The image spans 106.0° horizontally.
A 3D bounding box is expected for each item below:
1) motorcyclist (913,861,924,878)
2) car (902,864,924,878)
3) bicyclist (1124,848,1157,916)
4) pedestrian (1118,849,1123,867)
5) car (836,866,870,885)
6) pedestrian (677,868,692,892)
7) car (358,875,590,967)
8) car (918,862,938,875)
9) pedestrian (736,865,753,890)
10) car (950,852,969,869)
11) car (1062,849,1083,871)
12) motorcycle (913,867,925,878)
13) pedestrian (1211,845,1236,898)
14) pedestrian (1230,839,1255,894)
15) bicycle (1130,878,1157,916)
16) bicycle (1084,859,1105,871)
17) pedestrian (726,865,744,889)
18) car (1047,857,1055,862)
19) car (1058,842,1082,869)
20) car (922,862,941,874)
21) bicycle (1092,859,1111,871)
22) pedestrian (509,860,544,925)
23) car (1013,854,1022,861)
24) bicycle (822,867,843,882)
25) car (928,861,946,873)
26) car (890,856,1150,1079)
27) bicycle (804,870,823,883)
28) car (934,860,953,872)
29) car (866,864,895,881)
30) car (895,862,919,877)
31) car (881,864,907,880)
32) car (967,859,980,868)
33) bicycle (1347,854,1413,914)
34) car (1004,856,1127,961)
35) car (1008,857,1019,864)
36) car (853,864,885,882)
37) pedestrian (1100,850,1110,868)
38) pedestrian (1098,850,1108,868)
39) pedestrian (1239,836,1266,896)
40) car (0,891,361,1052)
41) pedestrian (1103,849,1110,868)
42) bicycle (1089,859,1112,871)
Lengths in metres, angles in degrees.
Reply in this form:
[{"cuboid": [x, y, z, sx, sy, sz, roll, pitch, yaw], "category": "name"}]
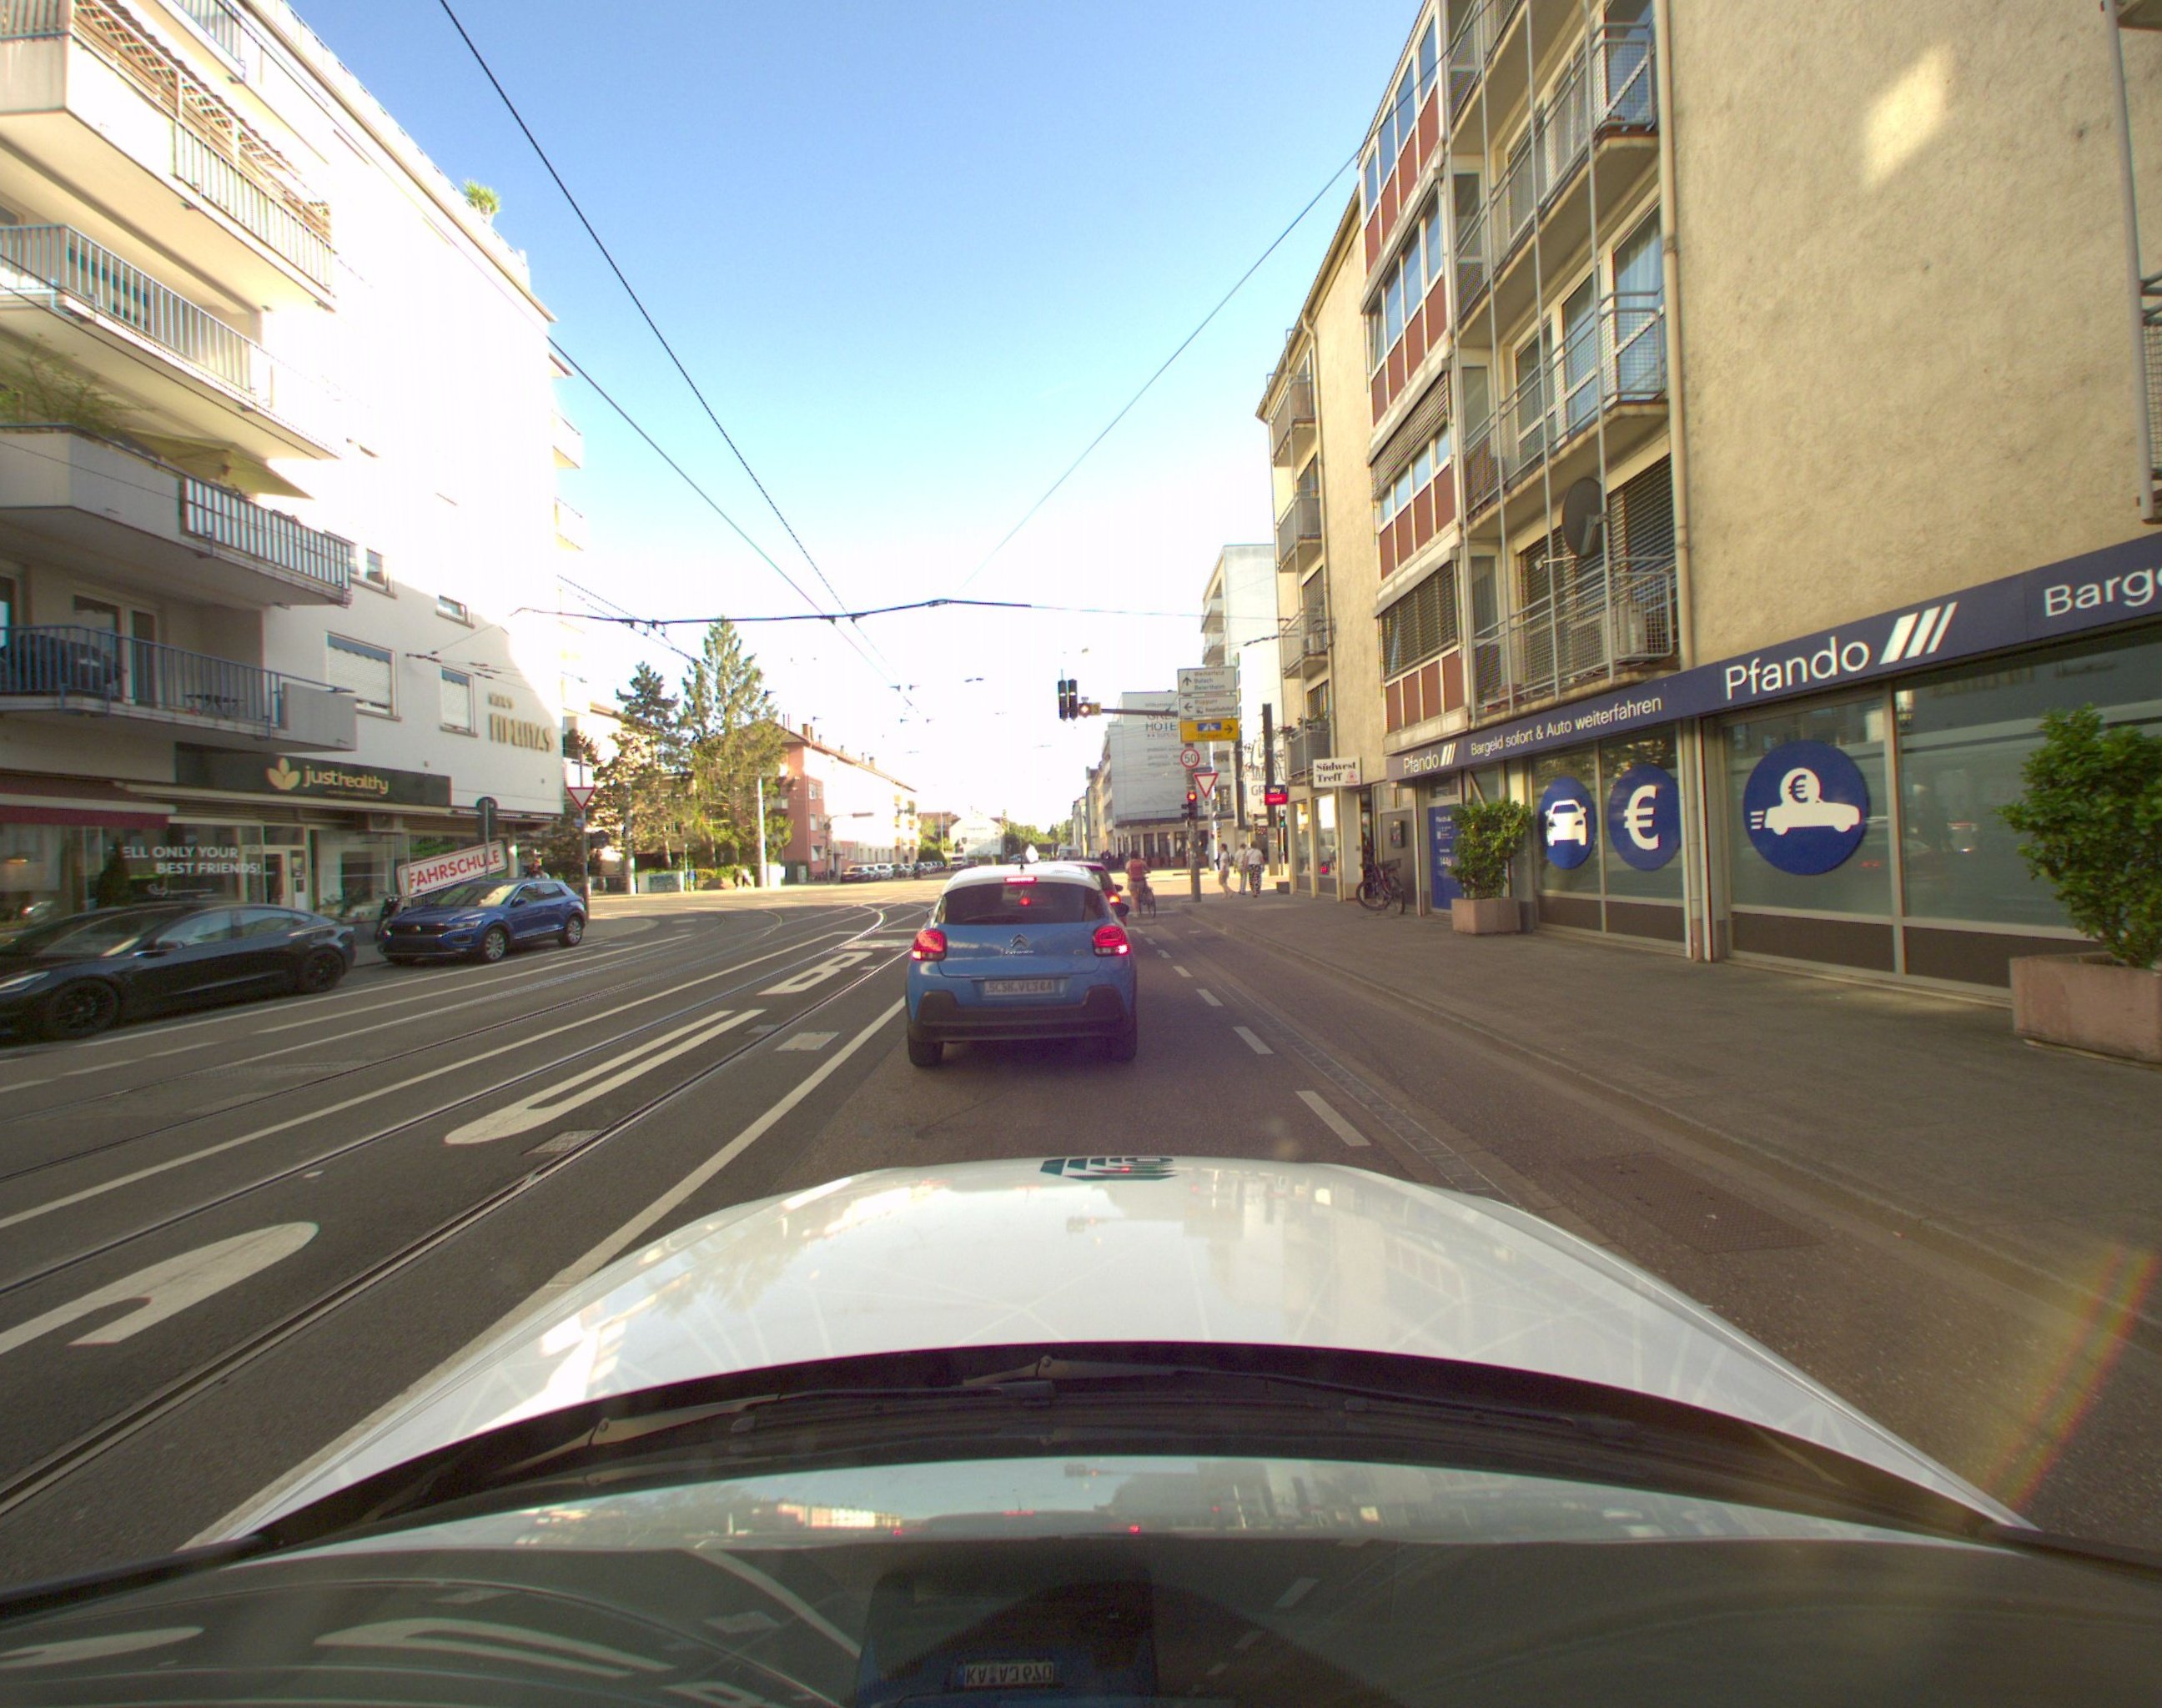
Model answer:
[{"cuboid": [-13.491, 1.268, 67.608, 0.716, 1.378, 0.912, -2, 0, 2], "category": "motorcyclist"}, {"cuboid": [-20.215, 2.063, 98.332, 1.906, 1.497, 3.997, -3, 0, -2], "category": "car"}, {"cuboid": [1.481, 0.684, 20.382, 0.723, 1.646, 0.790, -2, 0, 1], "category": "bicyclist"}, {"cuboid": [3.411, 0.355, 70.236, 0.284, 1.556, 0.304, -2, 0, -7], "category": "pedestrian"}, {"cuboid": [-19.427, 1.770, 69.451, 1.907, 1.433, 3.995, -3, 0, -4], "category": "car"}, {"cuboid": [-27.606, 1.809, 56.720, 0.854, 1.625, 0.510, -2, 0, -32], "category": "pedestrian"}, {"cuboid": [-11.870, 1.222, 16.316, 1.740, 1.509, 3.996, -1, -1, -2], "category": "car"}, {"cuboid": [-20.028, 1.855, 106.739, 1.906, 1.497, 3.997, -3, 0, -2], "category": "car"}, {"cuboid": [-23.775, 1.649, 57.490, 0.835, 1.690, 0.742, -2, 0, 35], "category": "pedestrian"}, {"cuboid": [-17.876, 0.947, 119.943, 2.201, 2.251, 4.673, -3, 0, -2], "category": "car"}, {"cuboid": [-0.722, 0.466, 67.711, 1.727, 1.750, 3.212, -1, 0, -1], "category": "car"}, {"cuboid": [-13.484, 1.556, 67.761, 0.613, 0.864, 1.671, -2, 0, 2], "category": "motorcycle"}, {"cuboid": [4.229, 0.497, 24.158, 0.539, 1.507, 0.611, -4, 1, 0], "category": "pedestrian"}, {"cuboid": [5.074, 0.377, 25.620, 0.539, 1.672, 0.624, -4, 1, 0], "category": "pedestrian"}, {"cuboid": [1.569, 1.075, 20.688, 0.497, 0.864, 1.748, -2, 0, 0], "category": "bicycle"}, {"cuboid": [1.128, 0.919, 68.548, 1.713, 0.957, 0.702, -3, 0, 3], "category": "bicycle"}, {"cuboid": [-24.700, 1.630, 58.119, 0.835, 1.690, 0.742, -2, 0, 34], "category": "pedestrian"}, {"cuboid": [-7.855, 1.342, 213.946, 1.752, 1.259, 3.825, -2, 0, -5], "category": "car"}, {"cuboid": [-1.003, 0.157, 72.638, 1.988, 2.325, 3.998, -1, 0, -1], "category": "car"}, {"cuboid": [-20.530, 1.901, 111.753, 1.906, 1.497, 3.997, -3, 0, -2], "category": "car"}, {"cuboid": [1.663, 0.888, 66.115, 1.497, 0.957, 0.702, -3, 0, 3], "category": "bicycle"}, {"cuboid": [-17.362, 1.197, 25.507, 0.684, 2.013, 0.486, -2, 0, 1], "category": "pedestrian"}, {"cuboid": [-14.671, 0.853, 188.051, 2.016, 1.525, 3.997, -3, 0, -2], "category": "car"}, {"cuboid": [-22.811, 1.878, 74.705, 0.845, 1.225, 3.304, -2, 0, 0], "category": "bicycle"}, {"cuboid": [-20.614, 1.881, 116.851, 1.865, 1.574, 3.997, -2, 0, -2], "category": "car"}, {"cuboid": [-0.545, 0.771, 7.552, 1.740, 1.462, 3.994, -1, 0, -4], "category": "car"}, {"cuboid": [-22.466, 1.865, 68.444, 0.730, 0.952, 2.597, -2, 0, 0], "category": "bicycle"}, {"cuboid": [-20.570, 1.819, 122.280, 2.024, 1.619, 4.509, -3, 0, -1], "category": "car"}, {"cuboid": [-19.585, 1.781, 79.813, 1.906, 1.497, 3.997, -3, 0, -2], "category": "car"}, {"cuboid": [-19.810, 1.754, 92.748, 1.906, 1.497, 3.997, -3, 0, -2], "category": "car"}, {"cuboid": [-19.810, 1.888, 86.604, 1.906, 1.497, 3.997, -3, 0, -2], "category": "car"}, {"cuboid": [-19.138, 1.740, 145.165, 2.016, 1.525, 3.997, -2, 0, -2], "category": "car"}, {"cuboid": [5.758, 0.551, 15.778, 0.528, 1.072, 1.810, -2, 0, -1], "category": "bicycle"}, {"cuboid": [-0.159, 0.795, 13.770, 1.732, 1.420, 4.002, -2, 0, 2], "category": "car"}, {"cuboid": [-14.063, 1.330, 169.980, 2.016, 1.525, 3.997, -2, 0, -2], "category": "car"}, {"cuboid": [-19.523, 1.727, 75.185, 1.906, 1.497, 3.997, -3, 0, -2], "category": "car"}, {"cuboid": [2.129, 0.446, 72.777, 0.648, 1.556, 0.490, -2, 0, -20], "category": "pedestrian"}, {"cuboid": [2.007, 0.461, 74.585, 0.648, 1.556, 0.490, -2, 0, -20], "category": "pedestrian"}, {"cuboid": [4.958, 0.331, 23.596, 0.539, 1.672, 0.650, -4, 0, 0], "category": "pedestrian"}, {"cuboid": [-11.976, 1.317, 10.424, 1.694, 1.509, 4.310, -1, -1, -1], "category": "car"}, {"cuboid": [2.197, 0.389, 70.059, 0.490, 1.556, 0.383, -2, 0, -2], "category": "pedestrian"}, {"cuboid": [1.607, 0.895, 67.177, 1.866, 0.957, 0.702, -3, 0, 3], "category": "bicycle"}]
